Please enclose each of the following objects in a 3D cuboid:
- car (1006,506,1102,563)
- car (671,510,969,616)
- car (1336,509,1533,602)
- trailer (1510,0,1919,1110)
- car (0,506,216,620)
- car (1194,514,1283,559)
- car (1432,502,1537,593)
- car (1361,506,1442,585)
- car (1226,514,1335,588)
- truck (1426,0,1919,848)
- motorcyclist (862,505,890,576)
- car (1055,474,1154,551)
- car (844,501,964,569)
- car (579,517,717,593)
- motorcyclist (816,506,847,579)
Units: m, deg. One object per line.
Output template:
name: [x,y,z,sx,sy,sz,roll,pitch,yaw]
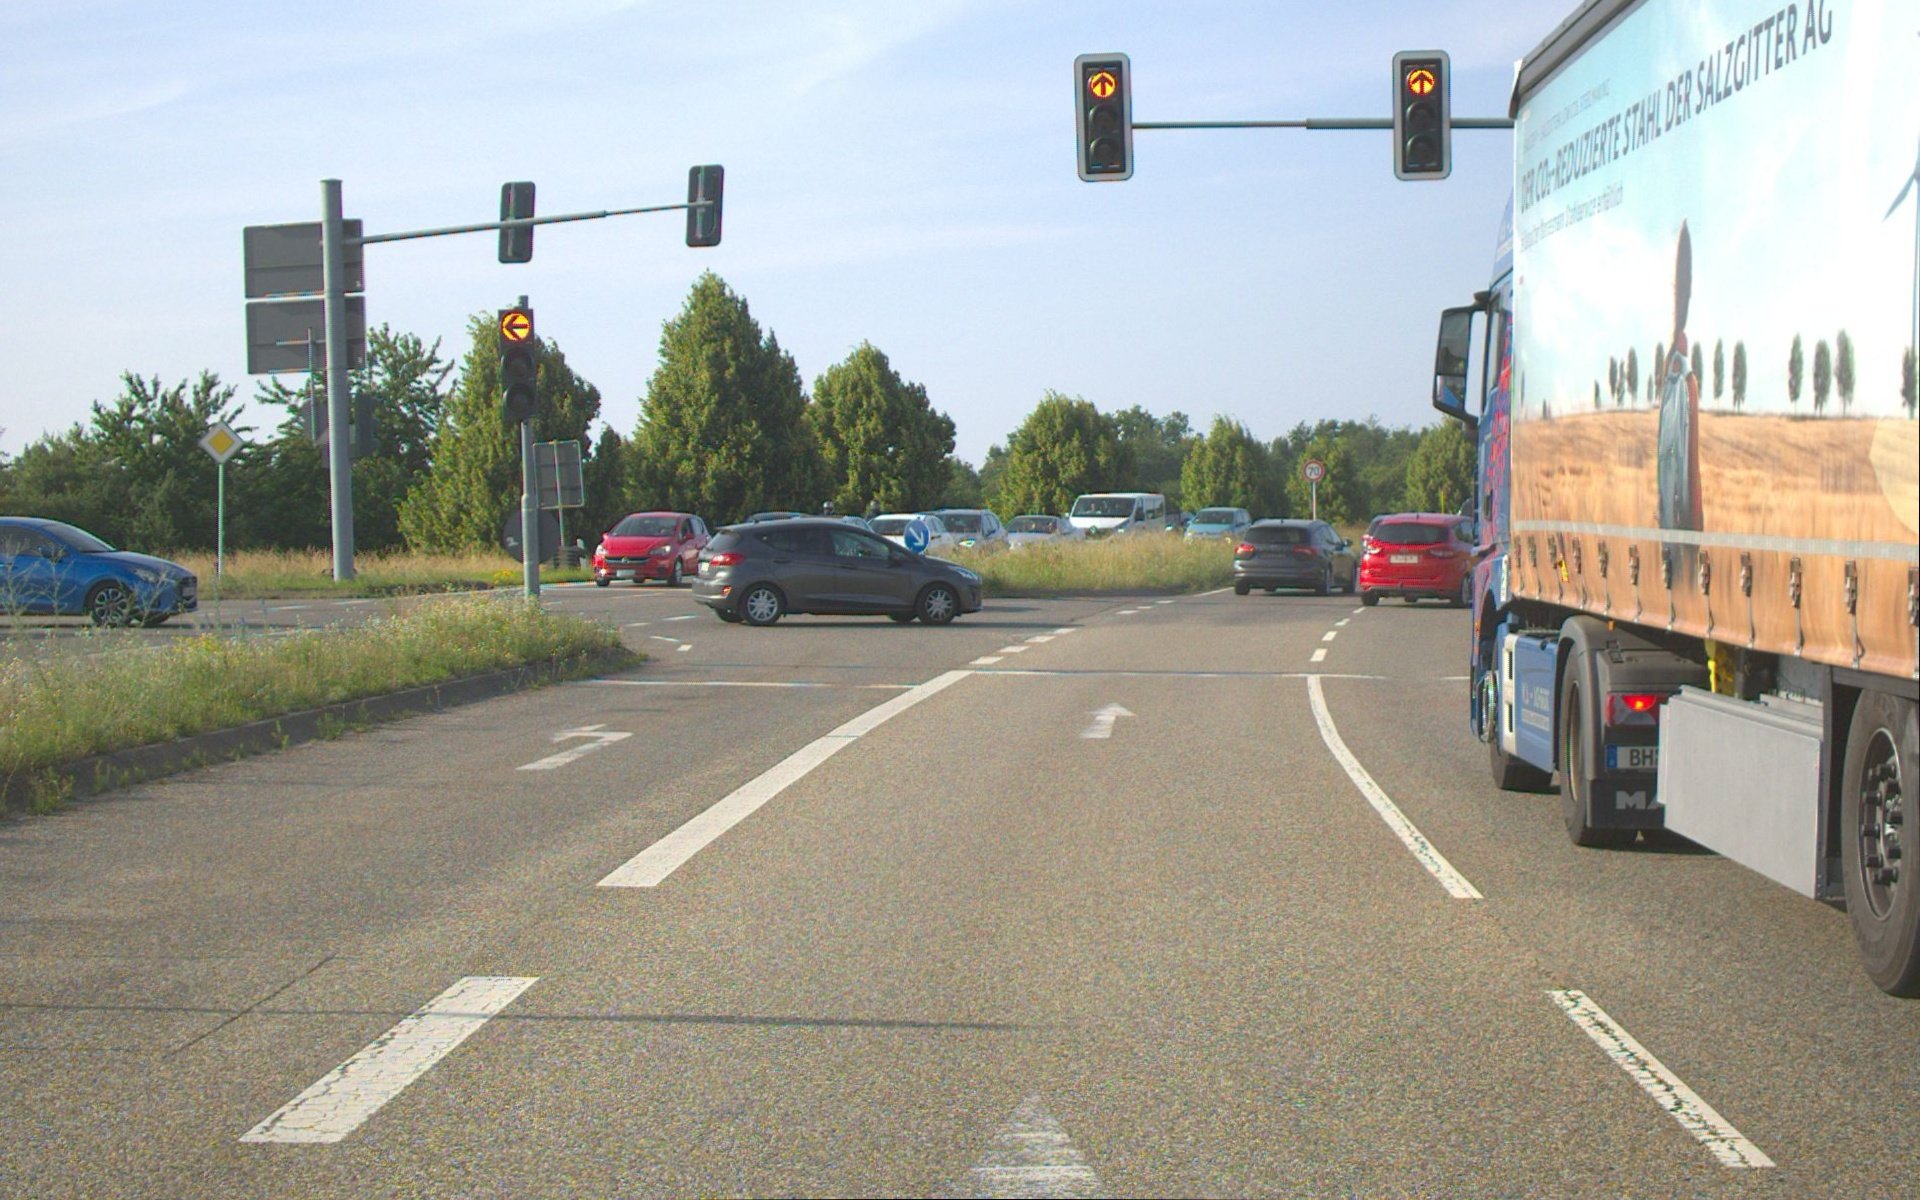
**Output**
car: [2.403,-1.662,87.012,1.787,1.381,4.050,0,1,11]
car: [-1.960,-0.499,47.773,3.782,1.411,1.921,0,0,-16]
car: [8.249,-0.745,59.442,1.898,1.559,4.271,0,0,30]
trailer: [4.242,-1.037,11.053,3.281,4.665,13.147,0,1,2]
car: [-12.214,-0.516,46.199,3.973,1.487,1.778,0,1,8]
car: [8.866,-2.038,109.338,1.788,1.381,4.047,0,1,20]
car: [10.661,-1.042,70.113,1.909,1.794,4.277,0,0,6]
car: [11.064,-1.343,85.917,1.909,1.909,4.276,0,0,8]
car: [6.201,-0.920,66.172,1.837,1.372,4.276,0,0,9]
truck: [4.483,-1.233,18.673,3.300,4.641,5.732,0,1,2]
motorcyclist: [-2.167,-1.542,88.791,0.662,1.810,0.605,0,1,4]
car: [4.067,-2.451,96.337,1.926,2.071,4.241,0,1,14]
car: [-1.189,-1.433,75.257,1.787,1.428,4.307,0,1,11]
car: [-6.281,-0.927,69.546,1.721,1.483,3.802,0,1,12]
motorcyclist: [-3.080,-1.381,82.436,0.662,1.741,0.605,0,1,4]
